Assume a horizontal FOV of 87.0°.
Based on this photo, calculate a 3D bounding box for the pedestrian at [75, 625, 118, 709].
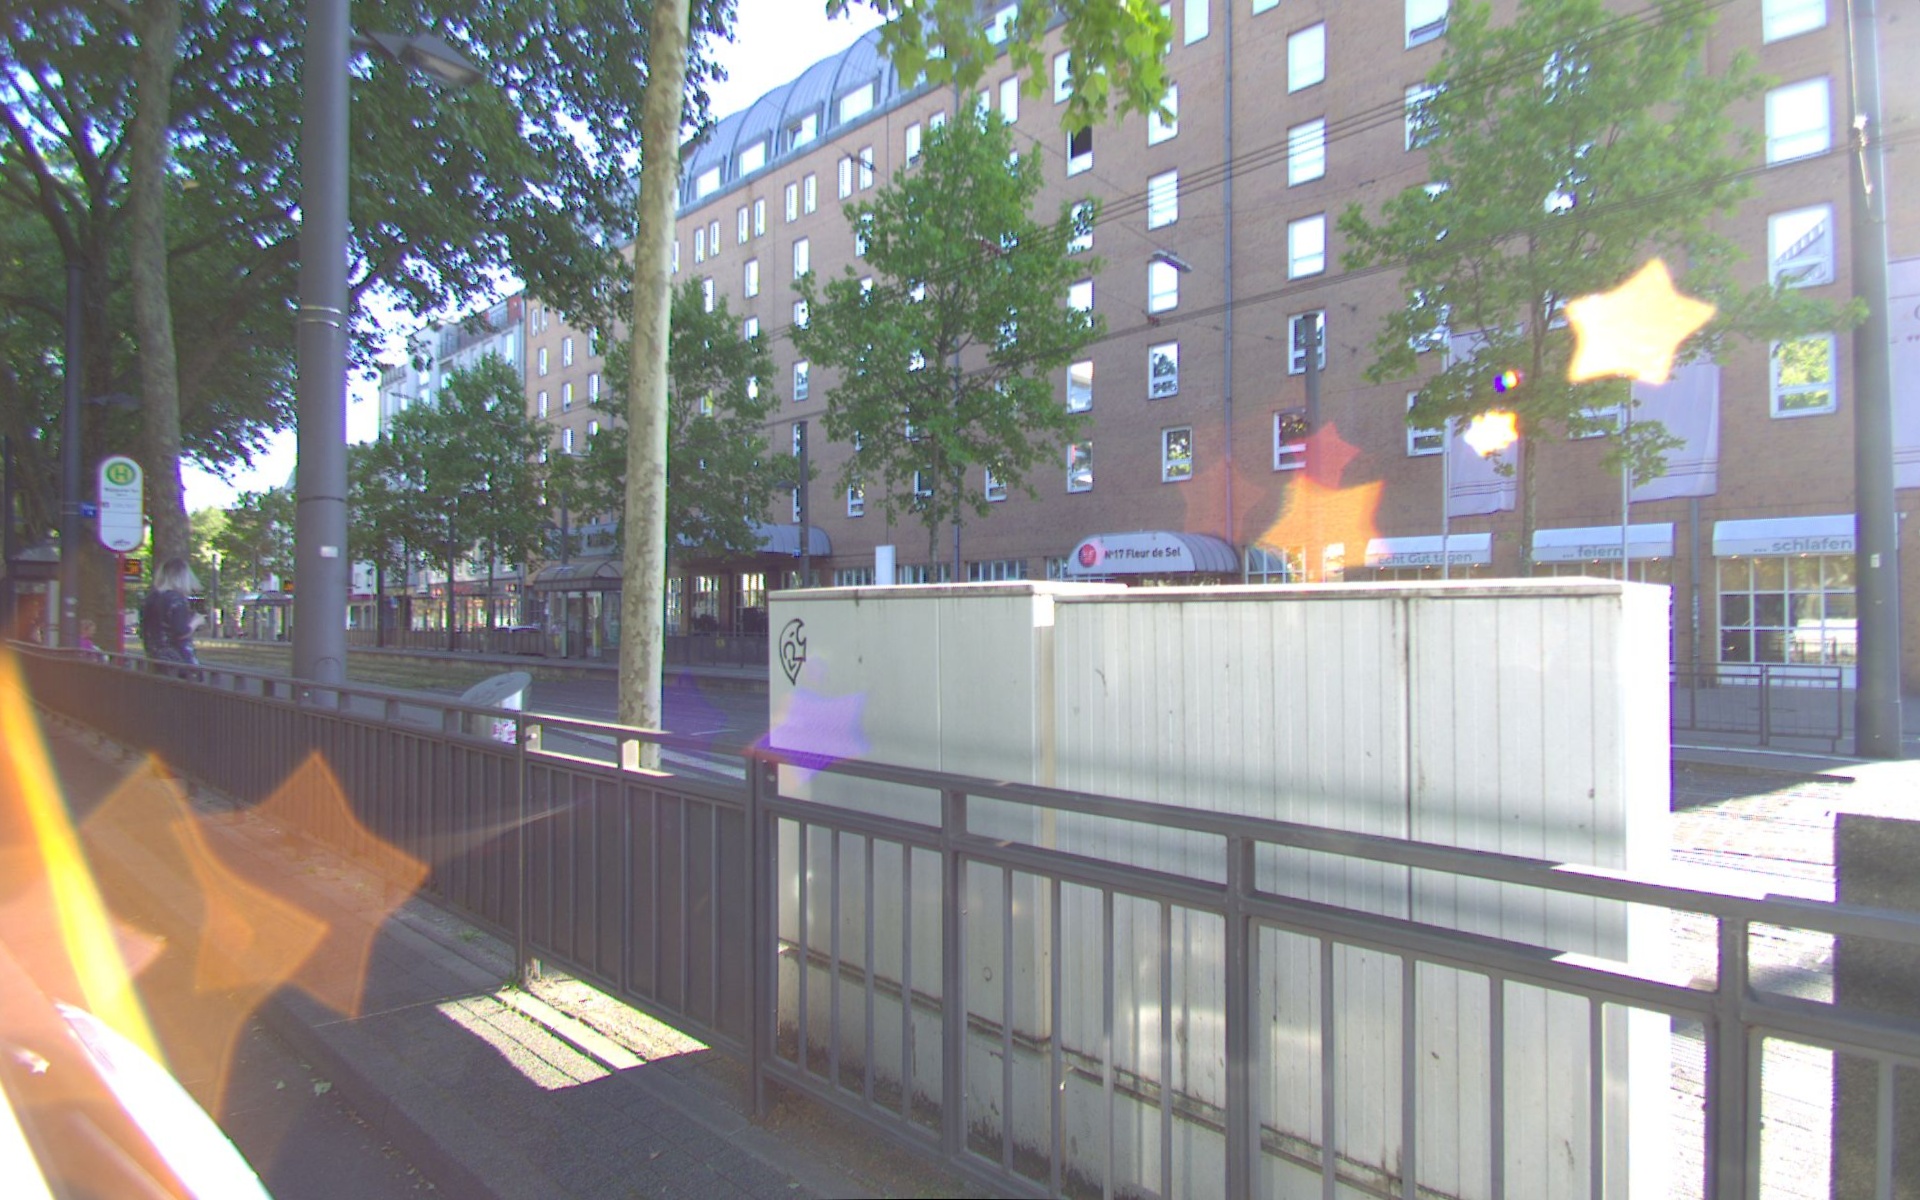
[{"bbox_3d":[-13.957,1.067,16.355,0.493,1.325,0.419,1,-2,-41],"label":"pedestrian"}]

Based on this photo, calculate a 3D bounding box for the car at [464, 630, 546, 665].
[{"bbox_3d":[-20.231,2.079,44.937,4.308,1.500,1.737,-1,-2,42],"label":"car"}]

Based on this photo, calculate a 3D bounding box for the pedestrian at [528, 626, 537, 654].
[{"bbox_3d":[-23.669,2.231,56.018,0.431,1.532,0.660,1,-2,-27],"label":"pedestrian"}]

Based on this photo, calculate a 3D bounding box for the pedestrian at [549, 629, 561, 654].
[{"bbox_3d":[-23.848,2.436,59.618,0.516,1.447,0.512,-2,-2,44],"label":"pedestrian"}]

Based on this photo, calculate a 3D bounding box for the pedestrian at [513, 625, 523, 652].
[{"bbox_3d":[-24.291,2.116,55.629,0.431,1.518,0.660,1,-2,-27],"label":"pedestrian"}]

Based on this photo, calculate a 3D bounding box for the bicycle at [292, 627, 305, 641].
[{"bbox_3d":[-48.526,2.465,74.250,0.444,1.012,1.754,2,-2,-44],"label":"bicycle"}]

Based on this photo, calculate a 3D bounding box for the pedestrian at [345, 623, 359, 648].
[{"bbox_3d":[-49.927,2.910,83.080,0.763,2.029,0.796,-2,-2,41],"label":"pedestrian"}]

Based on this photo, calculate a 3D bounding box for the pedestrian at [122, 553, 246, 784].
[{"bbox_3d":[-6.678,0.558,8.721,0.602,1.897,0.618,1,0,22],"label":"pedestrian"}]

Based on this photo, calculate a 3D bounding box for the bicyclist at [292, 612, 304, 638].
[{"bbox_3d":[-48.576,1.834,74.255,0.564,1.918,0.814,2,-2,-43],"label":"bicyclist"}]
